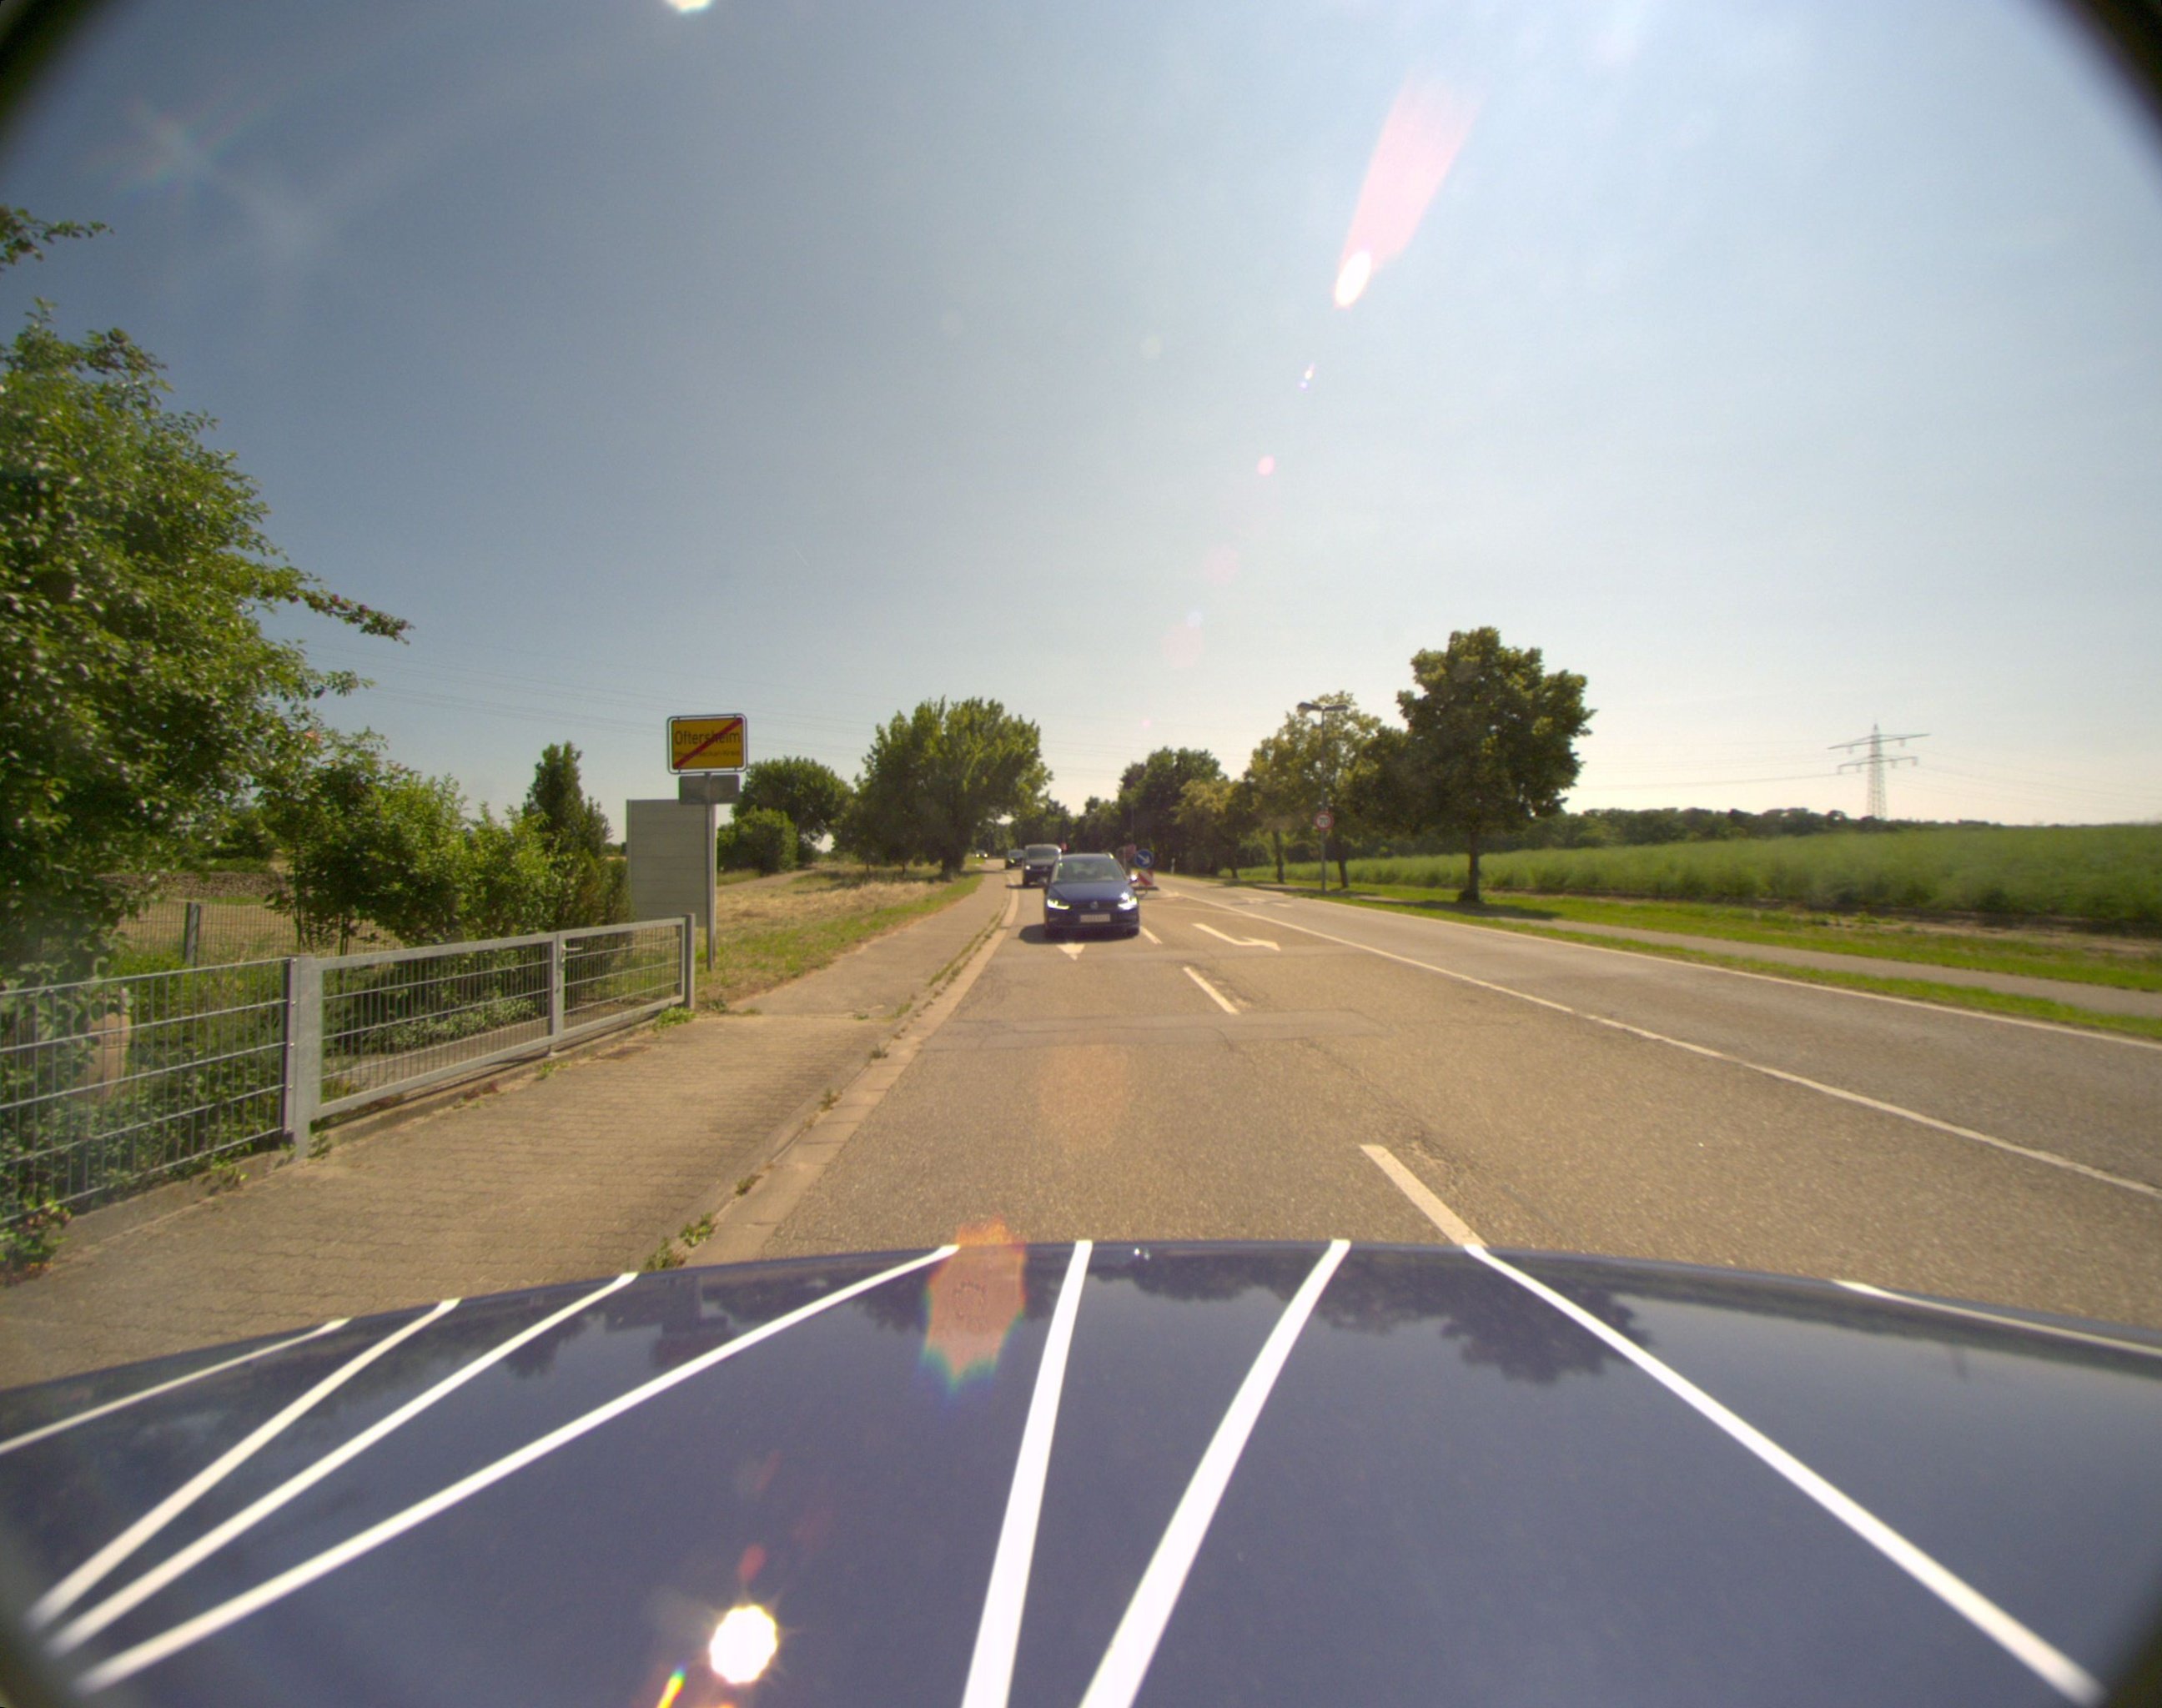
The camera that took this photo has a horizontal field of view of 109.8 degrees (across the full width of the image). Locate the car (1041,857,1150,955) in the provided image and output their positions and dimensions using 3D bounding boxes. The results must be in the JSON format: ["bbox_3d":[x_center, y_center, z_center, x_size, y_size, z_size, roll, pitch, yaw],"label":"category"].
[{"bbox_3d":[0.273,0.874,14.856,1.764,1.520,4.422,-2,1,1],"label":"car"}]

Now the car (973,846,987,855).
[{"bbox_3d":[-16.961,-0.591,127.833,2.001,1.522,3.996,-1,0,-13],"label":"car"}]

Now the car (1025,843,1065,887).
[{"bbox_3d":[-1.723,0.487,36.192,1.765,1.953,4.261,-1,0,-2],"label":"car"}]

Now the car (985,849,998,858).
[{"bbox_3d":[-19.366,-0.109,164.728,1.884,1.562,4.466,0,-2,-19],"label":"car"}]

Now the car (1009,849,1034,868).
[{"bbox_3d":[-5.168,0.379,65.766,1.766,1.530,3.681,-1,0,-9],"label":"car"}]
